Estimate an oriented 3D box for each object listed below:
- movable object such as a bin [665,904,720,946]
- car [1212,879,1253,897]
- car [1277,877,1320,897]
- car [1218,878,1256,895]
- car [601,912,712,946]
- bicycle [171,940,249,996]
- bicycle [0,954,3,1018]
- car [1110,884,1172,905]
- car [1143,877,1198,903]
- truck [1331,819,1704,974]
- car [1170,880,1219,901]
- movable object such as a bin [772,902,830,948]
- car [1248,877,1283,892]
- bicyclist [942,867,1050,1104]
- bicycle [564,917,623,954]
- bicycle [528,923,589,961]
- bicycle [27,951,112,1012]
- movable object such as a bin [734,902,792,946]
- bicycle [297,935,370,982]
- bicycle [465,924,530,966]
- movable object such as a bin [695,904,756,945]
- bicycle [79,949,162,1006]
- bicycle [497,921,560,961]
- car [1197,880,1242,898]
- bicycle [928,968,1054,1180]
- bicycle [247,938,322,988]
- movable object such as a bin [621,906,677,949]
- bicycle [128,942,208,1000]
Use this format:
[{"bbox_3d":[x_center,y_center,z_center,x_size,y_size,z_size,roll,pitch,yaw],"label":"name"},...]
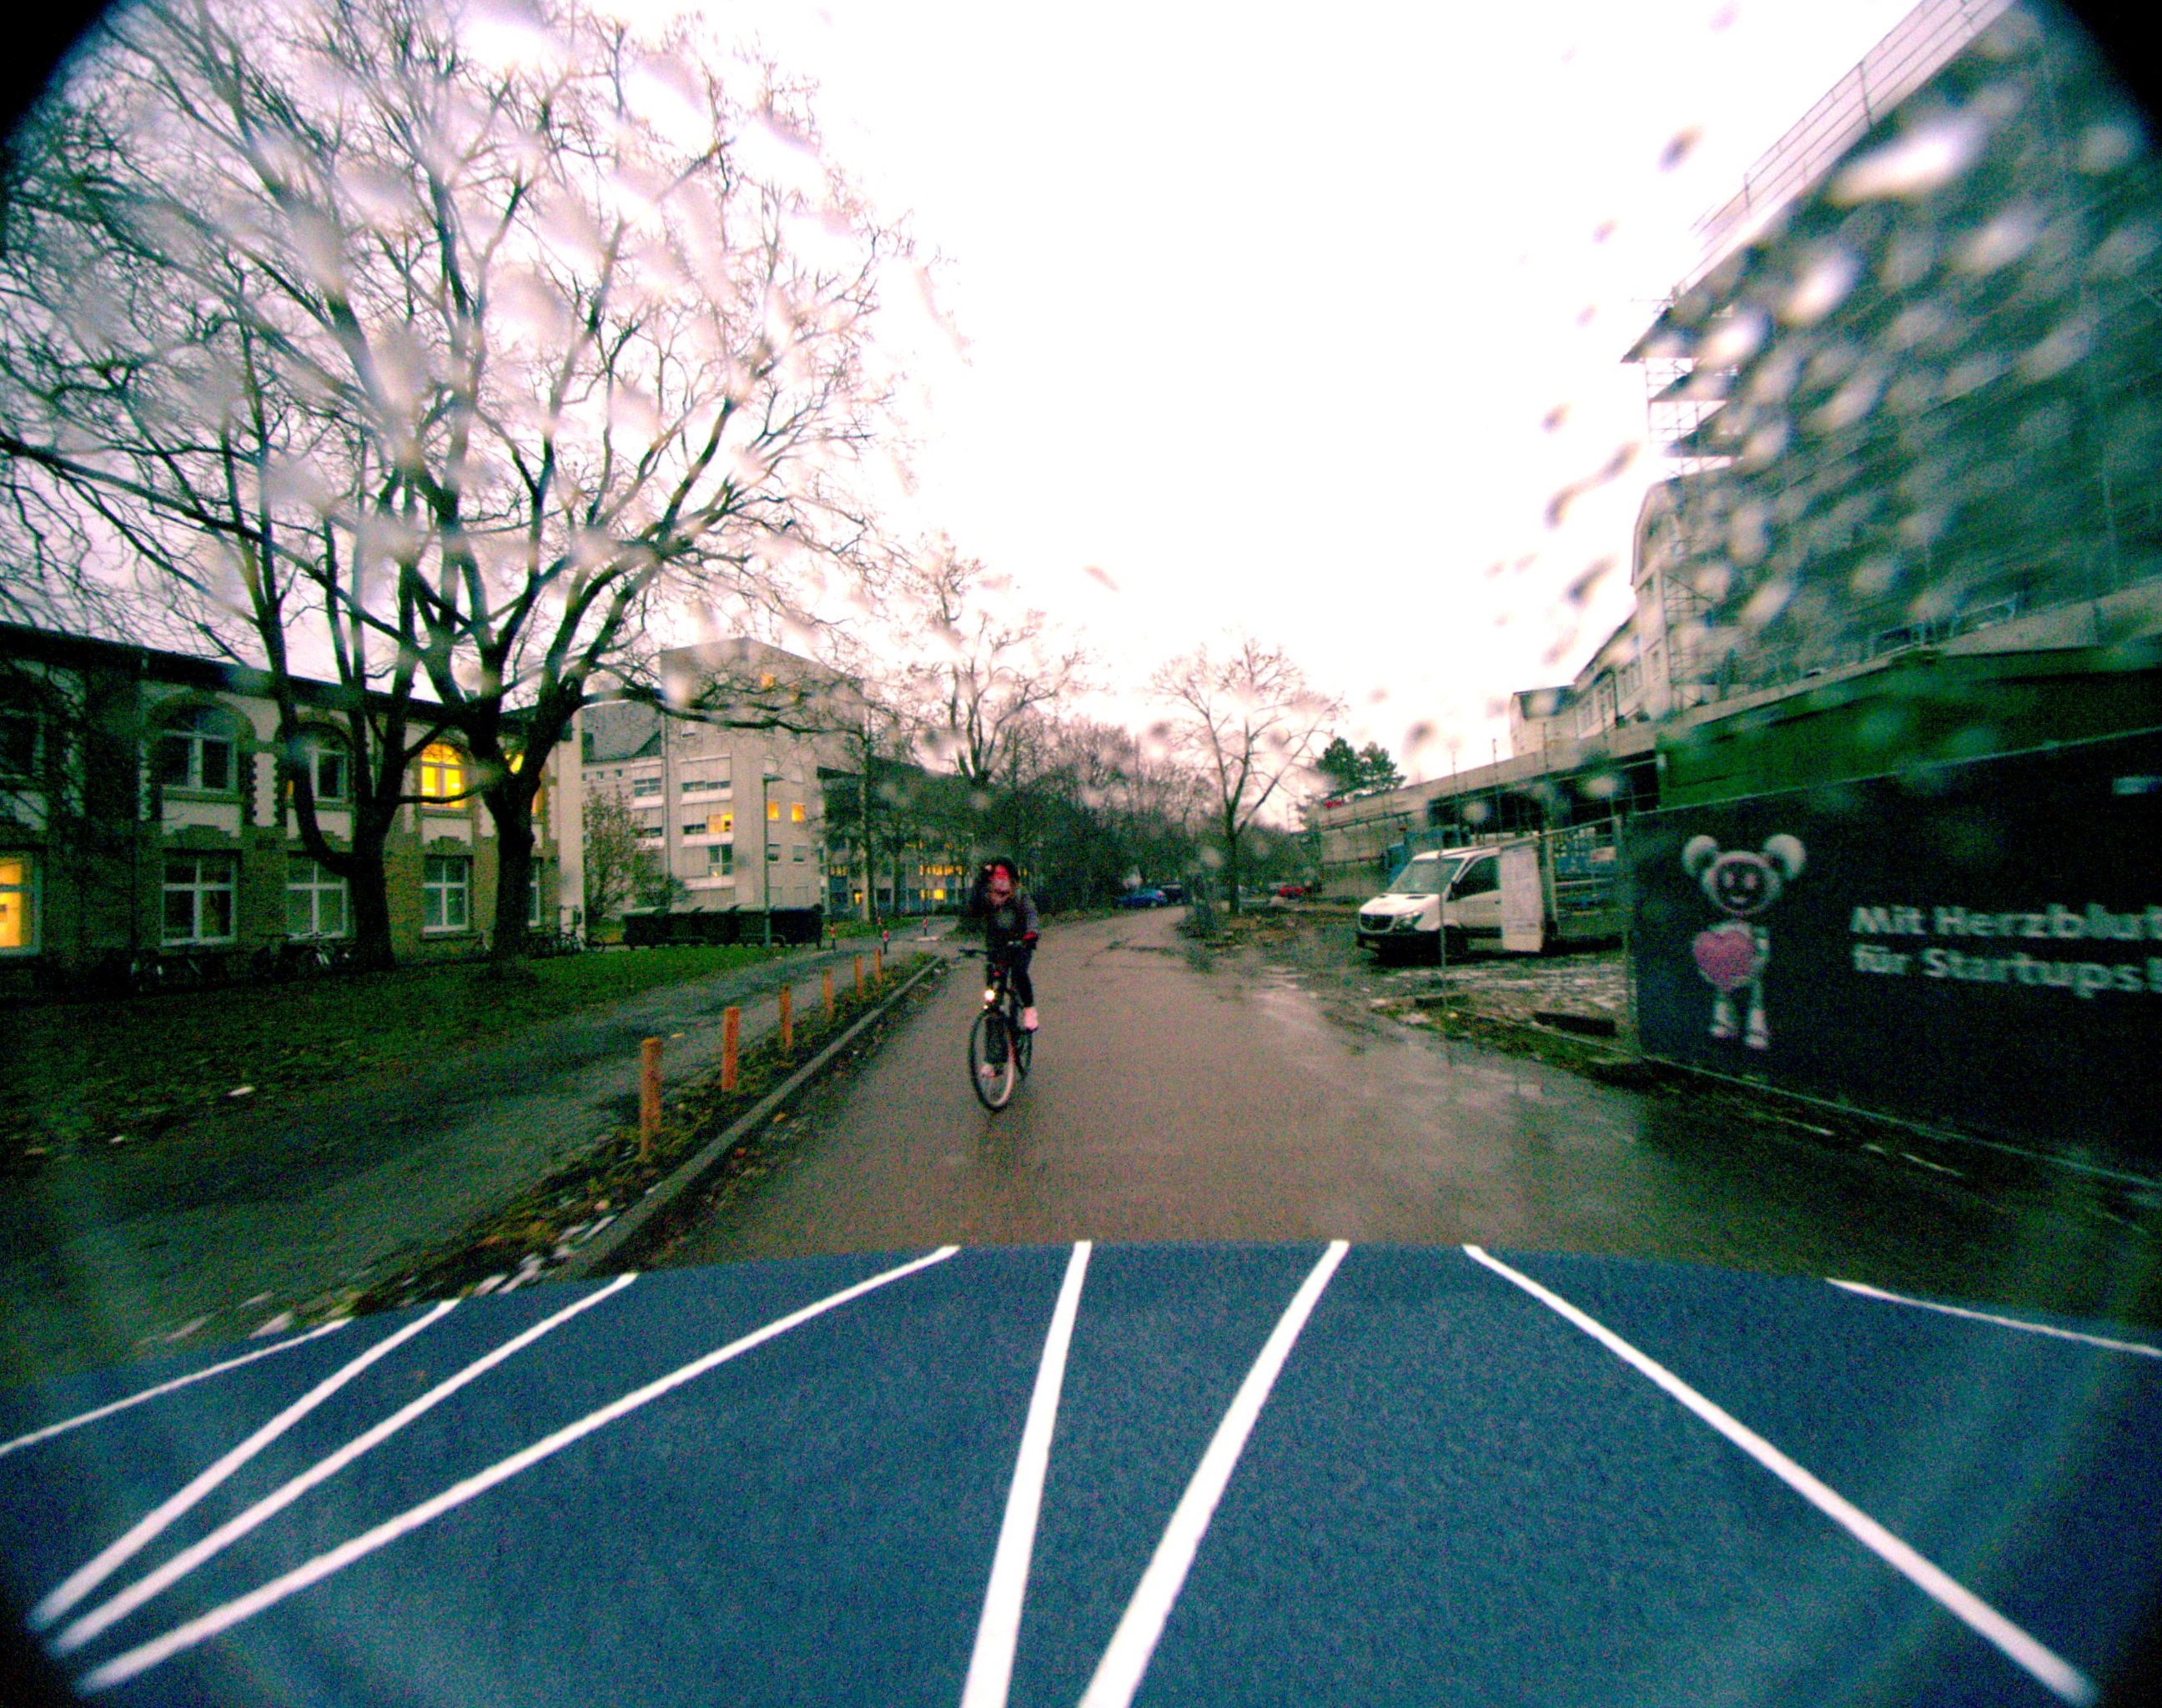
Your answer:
[{"bbox_3d":[-12.569,2.294,24.594,1.249,1.272,0.989,-2,-2,18],"label":"movable object such as a bin"},{"bbox_3d":[16.182,3.589,81.213,3.991,1.785,1.805,-3,-2,24],"label":"car"},{"bbox_3d":[18.161,2.777,63.463,3.302,1.513,1.707,-3,-2,20],"label":"car"},{"bbox_3d":[18.231,3.790,88.721,3.991,1.785,1.805,-3,-2,24],"label":"car"},{"bbox_3d":[-19.638,3.446,35.311,1.995,1.273,4.008,-3,-2,28],"label":"car"},{"bbox_3d":[-19.475,2.526,16.978,2.136,1.150,0.574,-3,-2,25],"label":"bicycle"},{"bbox_3d":[-20.604,2.425,13.935,2.136,1.150,0.574,-3,-2,25],"label":"bicycle"},{"bbox_3d":[4.523,3.083,57.161,4.172,1.468,2.005,-3,-5,21],"label":"car"},{"bbox_3d":[7.368,2.989,62.424,3.991,1.979,2.004,-3,-2,24],"label":"car"},{"bbox_3d":[9.079,0.796,15.903,7.083,2.572,2.131,-3,-1,-13],"label":"truck"},{"bbox_3d":[10.334,3.282,68.961,3.991,1.785,1.805,-3,-2,24],"label":"car"},{"bbox_3d":[-8.502,2.156,23.136,1.322,1.309,1.064,-1,-1,5],"label":"movable object such as a bin"},{"bbox_3d":[23.920,3.954,98.553,3.991,1.785,1.805,-3,-2,24],"label":"car"},{"bbox_3d":[-0.629,0.962,5.868,0.706,1.679,0.771,-2,-2,-1],"label":"bicyclist"},{"bbox_3d":[-16.082,2.679,25.065,2.136,1.150,0.574,-3,-2,25],"label":"bicycle"},{"bbox_3d":[-16.674,2.801,24.254,2.136,1.150,0.574,-3,-2,25],"label":"bicycle"},{"bbox_3d":[-20.248,2.523,15.206,2.136,1.044,0.574,-1,-1,25],"label":"bicycle"},{"bbox_3d":[-9.859,2.164,23.571,1.305,1.306,0.989,-2,-2,18],"label":"movable object such as a bin"},{"bbox_3d":[-18.700,2.592,18.993,2.136,1.103,0.574,-3,-2,25],"label":"bicycle"},{"bbox_3d":[-17.255,2.672,22.461,2.136,1.150,0.574,-3,-2,25],"label":"bicycle"},{"bbox_3d":[-11.248,2.232,24.069,1.435,1.217,0.989,-2,-2,18],"label":"movable object such as a bin"},{"bbox_3d":[-19.995,2.543,15.809,2.136,1.010,0.574,-1,-1,25],"label":"bicycle"},{"bbox_3d":[-16.943,2.660,23.297,2.136,1.150,0.574,-3,-2,25],"label":"bicycle"},{"bbox_3d":[13.925,3.556,76.352,3.991,1.651,2.004,-3,-2,24],"label":"car"},{"bbox_3d":[-0.620,1.569,5.876,0.730,1.125,1.894,-2,-2,-1],"label":"bicycle"},{"bbox_3d":[-19.035,2.585,18.142,2.136,1.085,0.574,-3,-2,25],"label":"bicycle"},{"bbox_3d":[-14.106,2.396,24.840,1.261,1.306,0.989,-2,-2,18],"label":"movable object such as a bin"},{"bbox_3d":[-19.720,2.495,16.407,2.136,1.150,0.574,-3,-2,25],"label":"bicycle"}]
